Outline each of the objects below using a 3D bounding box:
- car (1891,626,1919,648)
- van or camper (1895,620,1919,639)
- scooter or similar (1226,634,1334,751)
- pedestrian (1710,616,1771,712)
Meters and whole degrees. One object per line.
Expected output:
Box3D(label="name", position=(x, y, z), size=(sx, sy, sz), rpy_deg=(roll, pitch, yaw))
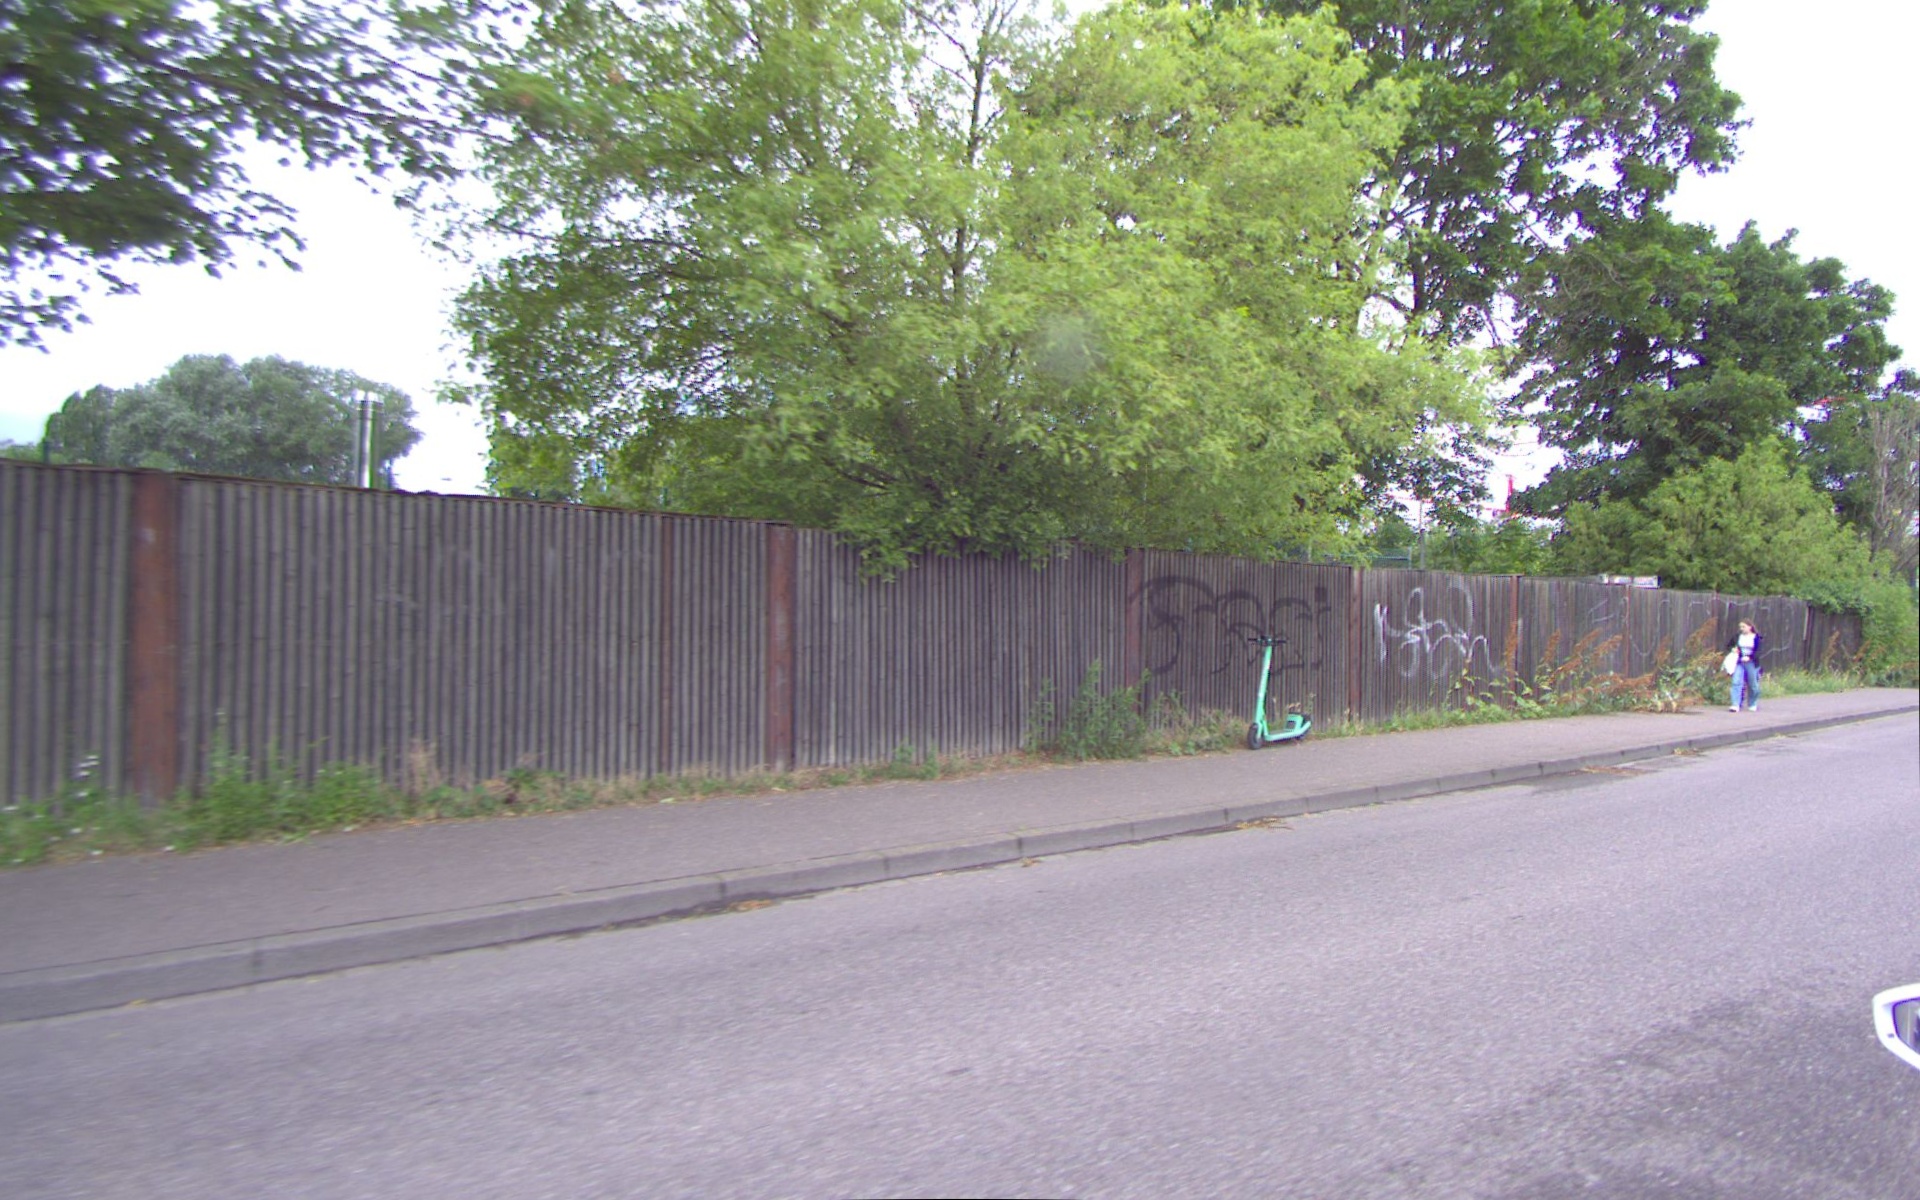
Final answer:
Box3D(label="car", position=(66.971, 2.593, 70.060), size=(3.952, 1.509, 1.922), rpy_deg=(1, -1, -30))
Box3D(label="van or camper", position=(106.126, 3.298, 109.399), size=(1.969, 2.040, 6.171), rpy_deg=(1, -1, -19))
Box3D(label="scooter or similar", position=(3.459, 0.967, 10.819), size=(1.291, 1.186, 0.420), rpy_deg=(1, 0, -36))
Box3D(label="pedestrian", position=(13.040, 1.058, 16.782), size=(0.716, 1.549, 0.608), rpy_deg=(1, 0, -34))
